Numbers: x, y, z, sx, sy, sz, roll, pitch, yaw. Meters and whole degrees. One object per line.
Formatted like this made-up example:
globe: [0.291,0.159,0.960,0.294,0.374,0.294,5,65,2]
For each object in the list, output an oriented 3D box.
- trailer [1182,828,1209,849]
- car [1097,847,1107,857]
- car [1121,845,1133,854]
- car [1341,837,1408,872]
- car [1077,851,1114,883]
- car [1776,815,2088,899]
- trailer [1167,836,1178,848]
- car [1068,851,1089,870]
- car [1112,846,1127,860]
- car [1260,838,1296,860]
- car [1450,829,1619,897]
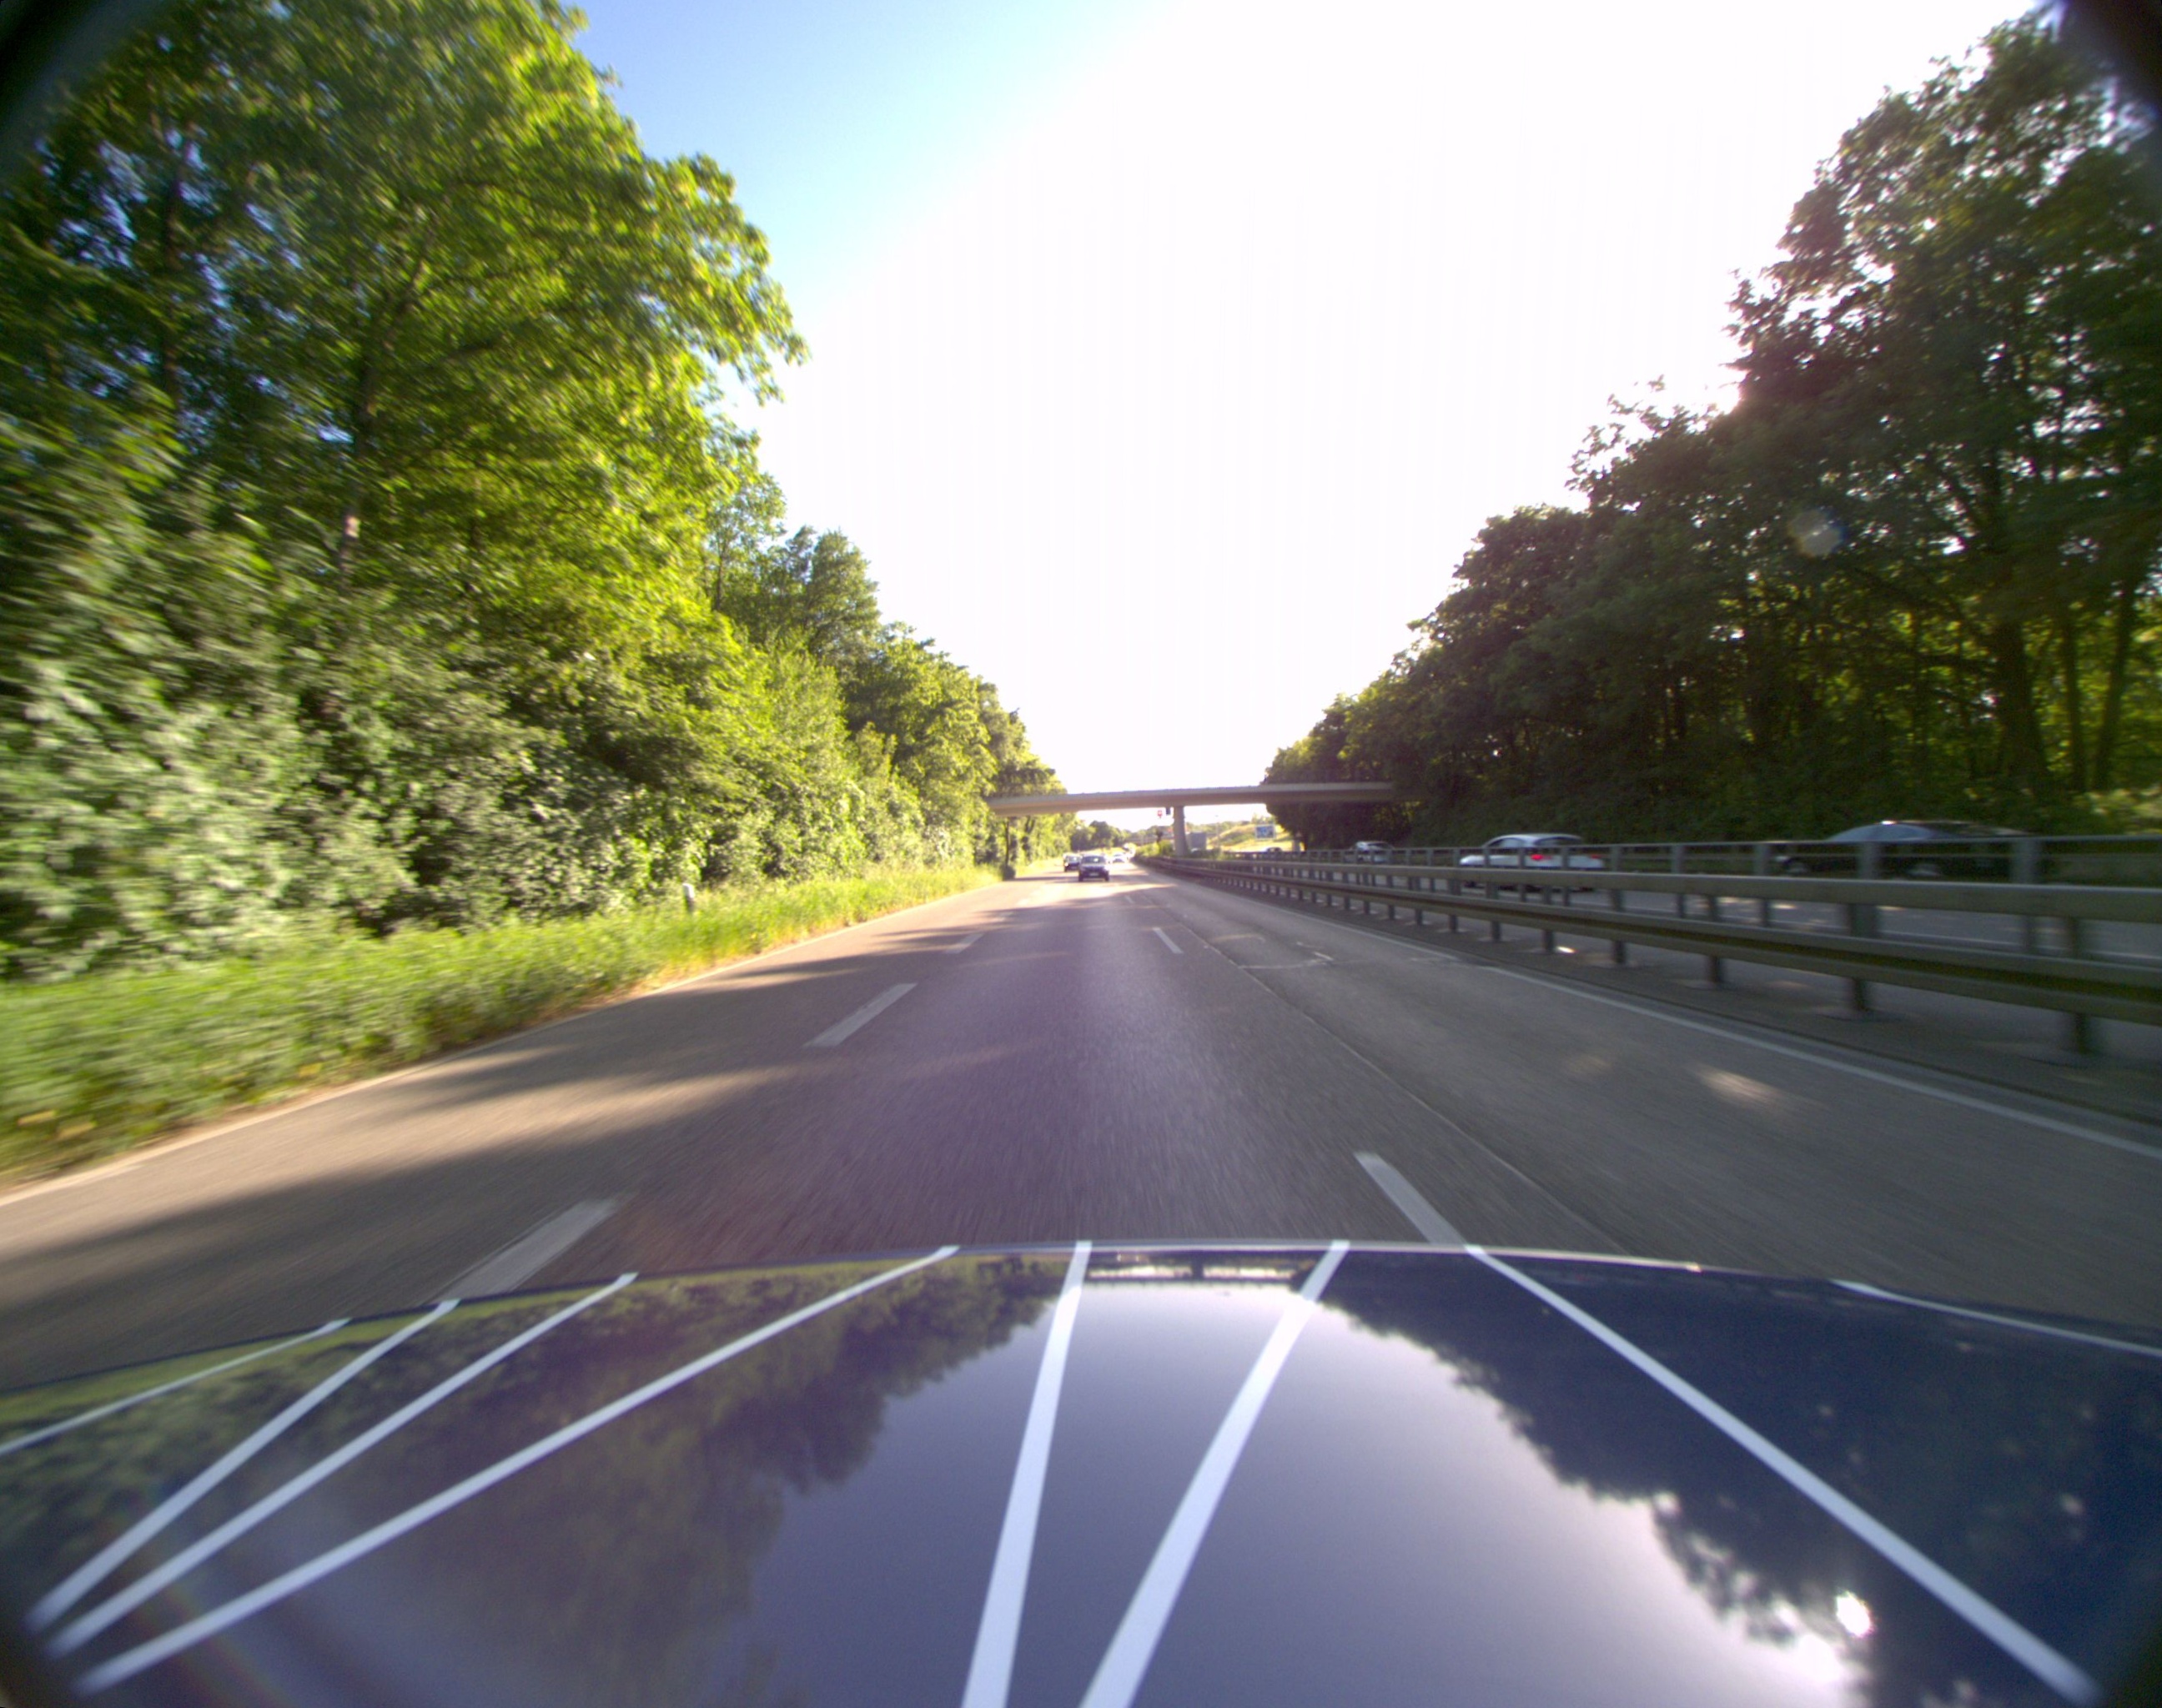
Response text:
trailer: [18.299,-2.433,122.394,2.937,3.150,11.915,-2,1,2]
car: [4.113,-0.438,148.922,1.998,1.740,4.372,-2,1,2]
car: [8.904,-0.912,147.382,1.997,1.740,4.374,-2,1,6]
car: [15.830,-0.007,41.248,1.998,1.740,4.372,-2,1,1]
car: [0.834,0.680,42.014,1.712,1.565,3.423,-5,1,4]
car: [17.892,0.040,16.382,1.734,1.480,4.453,-3,0,1]
trailer: [31.677,-4.186,263.282,3.029,3.965,14.028,-2,1,4]
car: [-0.186,0.561,67.484,1.712,1.565,3.422,-2,1,2]
car: [5.575,-0.167,109.493,1.998,1.793,4.000,-2,1,2]
car: [16.811,-0.467,65.156,1.998,1.740,4.343,-2,1,1]
car: [11.452,0.193,19.606,1.734,1.480,4.396,-3,0,1]
